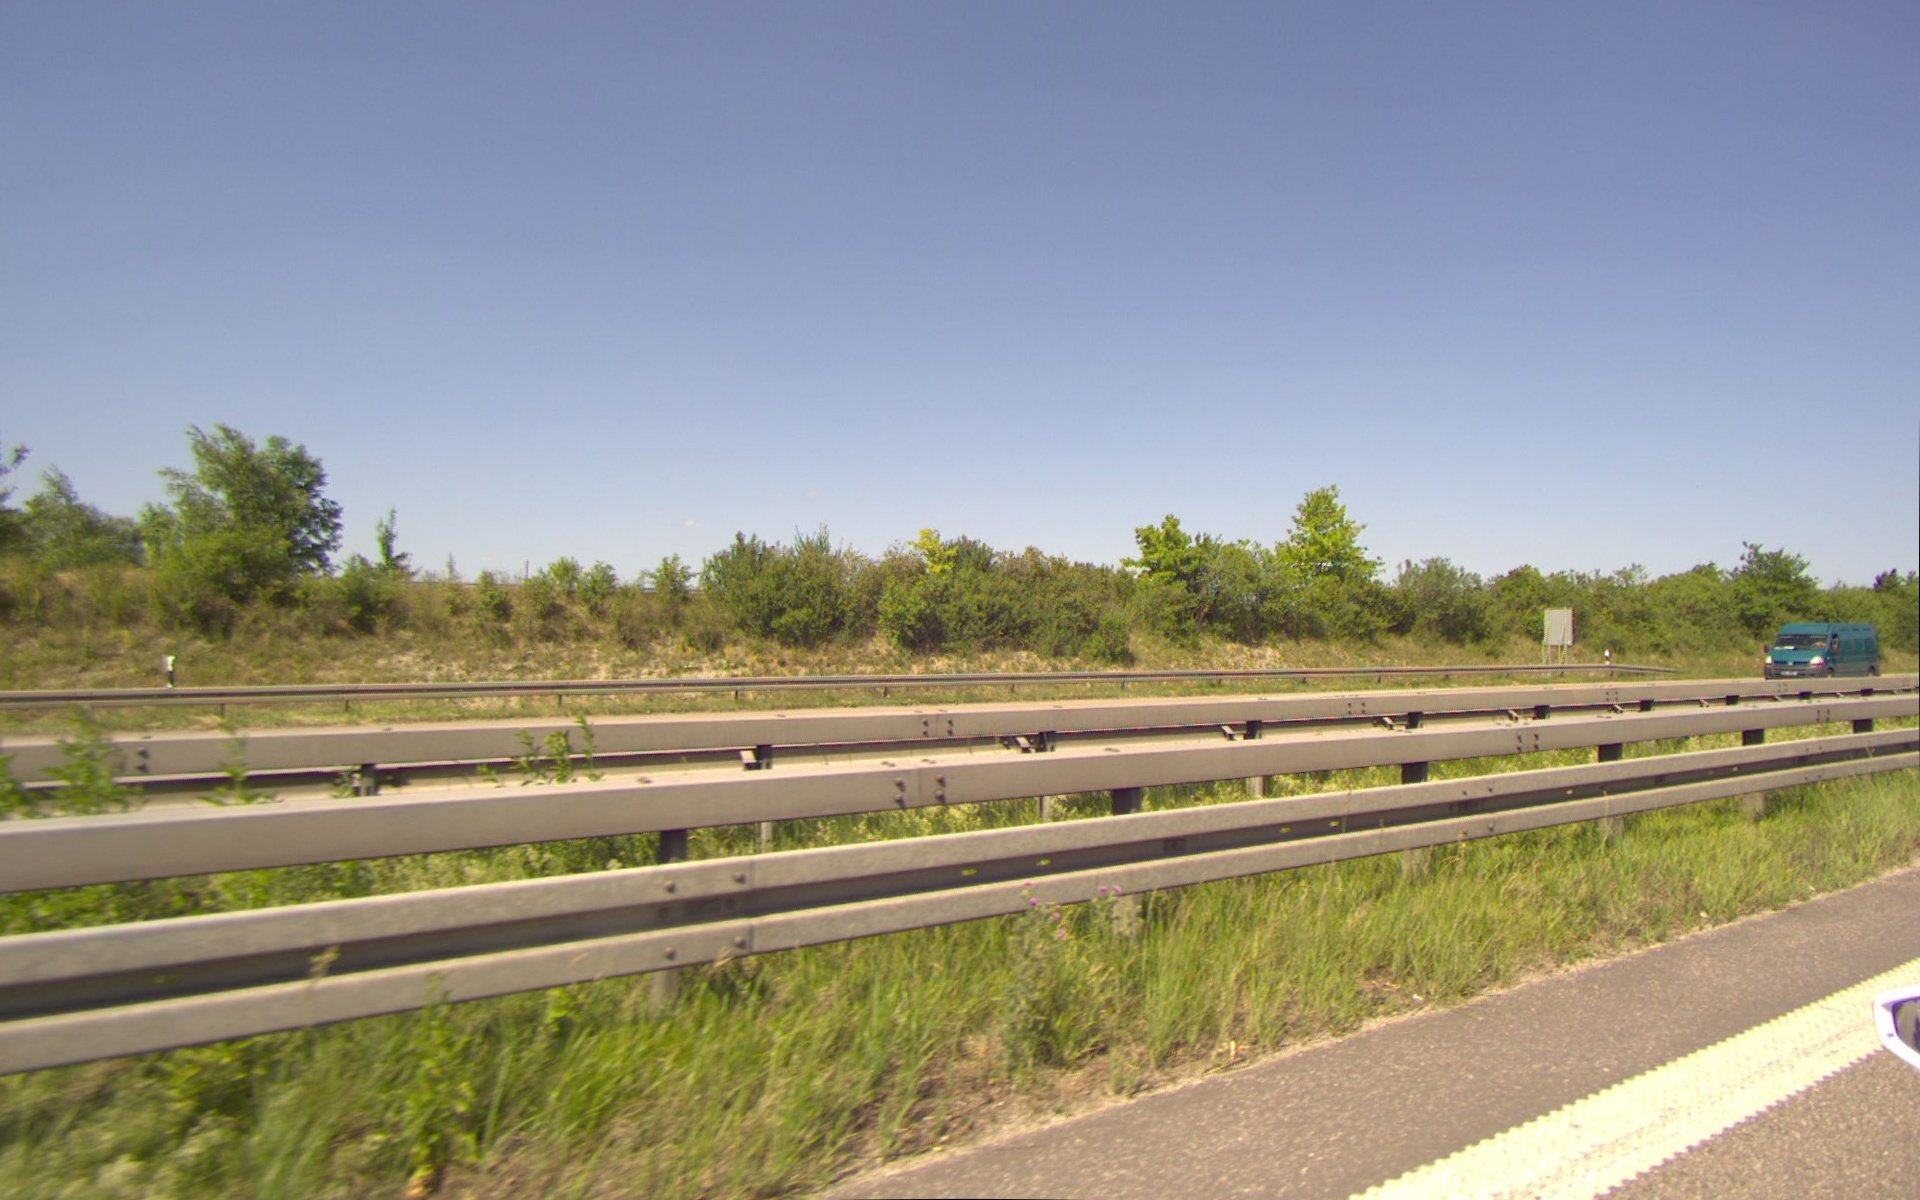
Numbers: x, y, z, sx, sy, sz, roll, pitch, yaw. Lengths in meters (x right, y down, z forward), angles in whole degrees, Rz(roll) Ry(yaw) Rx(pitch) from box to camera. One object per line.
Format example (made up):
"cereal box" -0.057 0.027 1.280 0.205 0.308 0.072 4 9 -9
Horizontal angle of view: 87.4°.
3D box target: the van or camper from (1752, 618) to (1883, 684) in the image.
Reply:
"van or camper" 33.585 1.971 39.296 6.168 2.423 1.984 1 -3 -31
